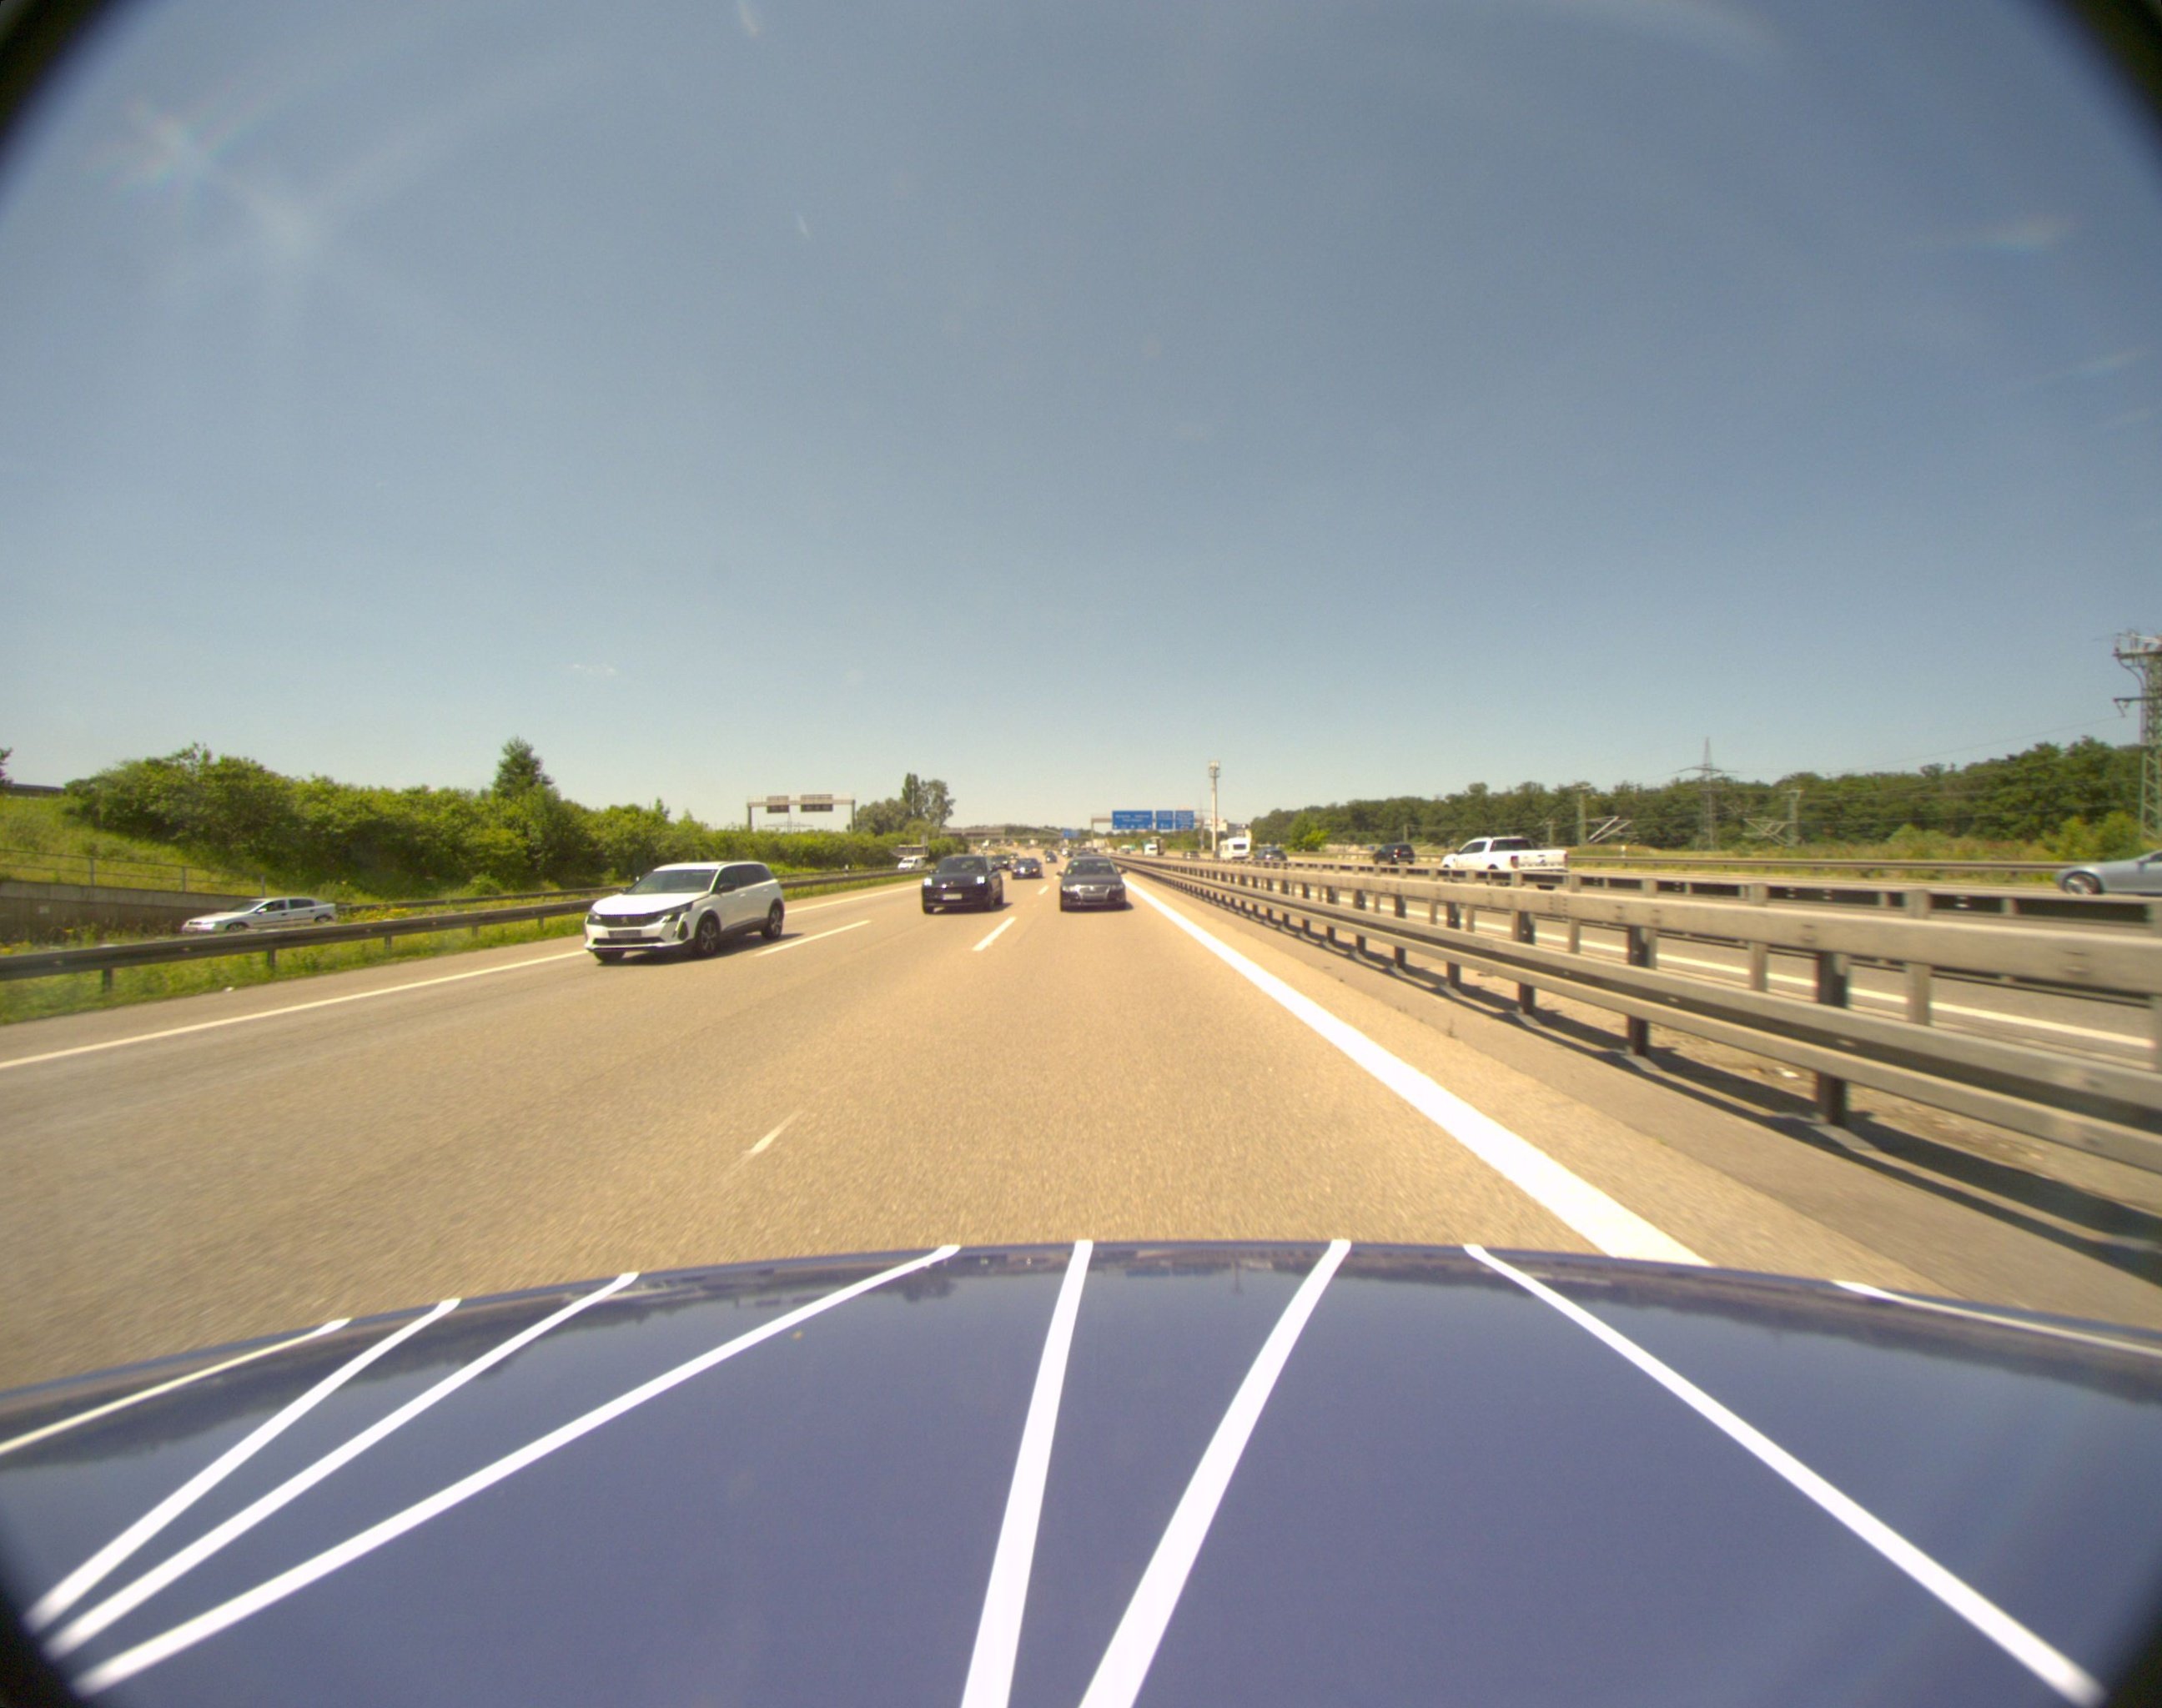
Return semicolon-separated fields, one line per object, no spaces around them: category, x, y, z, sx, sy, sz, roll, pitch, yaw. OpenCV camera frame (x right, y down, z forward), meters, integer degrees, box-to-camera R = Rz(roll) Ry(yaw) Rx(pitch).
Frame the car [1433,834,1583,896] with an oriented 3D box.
car;14.281;0.307;25.896;1.998;1.820;5.598;-1;1;0

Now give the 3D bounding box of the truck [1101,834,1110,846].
truck;8.772;-4.933;269.981;2.724;4.282;8.786;-2;1;0

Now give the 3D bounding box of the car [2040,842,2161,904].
car;24.433;0.403;16.484;1.998;1.304;4.163;-1;1;0

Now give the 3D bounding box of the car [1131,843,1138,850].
car;17.373;-2.447;245.791;1.998;2.002;3.999;-3;1;0

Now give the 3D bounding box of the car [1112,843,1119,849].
car;11.954;-2.623;262.001;1.998;2.002;3.999;-3;1;1

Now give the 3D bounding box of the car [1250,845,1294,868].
car;13.777;0.164;55.003;1.999;1.565;4.549;-1;1;0

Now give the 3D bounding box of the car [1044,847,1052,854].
car;-9.924;-1.089;228.025;1.998;2.002;3.999;-3;1;1

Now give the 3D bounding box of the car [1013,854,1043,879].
car;-3.466;0.772;50.174;1.752;1.462;3.998;-2;1;-2

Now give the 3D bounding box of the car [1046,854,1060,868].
car;-4.218;1.057;115.055;1.998;2.002;3.999;-2;1;0

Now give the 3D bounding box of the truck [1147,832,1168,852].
truck;16.000;-2.438;159.103;3.394;3.960;12.240;-2;1;1

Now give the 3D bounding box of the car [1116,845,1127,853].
car;7.967;-0.990;149.201;1.785;1.457;3.999;-3;1;-2

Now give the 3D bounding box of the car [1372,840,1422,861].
car;24.708;-0.286;59.646;1.998;1.588;4.934;-1;1;2

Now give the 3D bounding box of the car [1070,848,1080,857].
car;-1.141;-0.284;156.992;1.998;1.691;3.999;-2;1;0

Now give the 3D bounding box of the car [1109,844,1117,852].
car;8.919;-1.645;209.656;1.998;2.002;3.999;-2;1;0

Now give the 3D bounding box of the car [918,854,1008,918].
car;-3.410;0.865;22.911;1.983;1.620;4.616;-2;1;-1

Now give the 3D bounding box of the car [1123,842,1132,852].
car;10.834;-1.699;176.520;1.785;2.169;3.999;-2;1;0

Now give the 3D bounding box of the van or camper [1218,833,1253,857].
van or camper;17.589;-1.022;87.009;2.343;2.641;7.603;-2;1;0

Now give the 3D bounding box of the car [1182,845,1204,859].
car;13.736;-0.267;93.570;1.998;1.500;4.888;-3;1;0

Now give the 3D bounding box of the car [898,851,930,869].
car;-19.658;0.640;89.514;1.997;2.002;4.767;-1;0;10

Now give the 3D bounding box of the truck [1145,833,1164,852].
truck;16.167;-2.482;167.230;3.426;3.901;8.582;-2;1;1

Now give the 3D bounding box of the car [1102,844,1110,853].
car;6.392;-1.435;192.911;1.785;2.023;3.999;-2;1;0

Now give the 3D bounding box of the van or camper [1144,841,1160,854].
van or camper;12.468;-1.140;133.608;1.999;2.327;5.076;-2;1;-2

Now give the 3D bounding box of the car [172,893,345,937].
car;-31.606;2.312;29.387;1.896;1.272;4.081;-2;1;13

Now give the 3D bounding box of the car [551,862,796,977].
car;-7.148;1.040;14.030;1.898;1.620;4.617;-2;1;1

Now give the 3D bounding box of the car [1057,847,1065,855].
car;-5.734;-0.815;218.624;1.998;2.002;3.999;-3;1;1

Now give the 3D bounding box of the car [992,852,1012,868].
car;-7.857;0.577;75.603;1.752;1.462;3.998;-2;1;-4

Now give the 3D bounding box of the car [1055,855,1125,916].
car;0.245;0.817;21.595;1.752;1.462;3.999;-2;1;0
